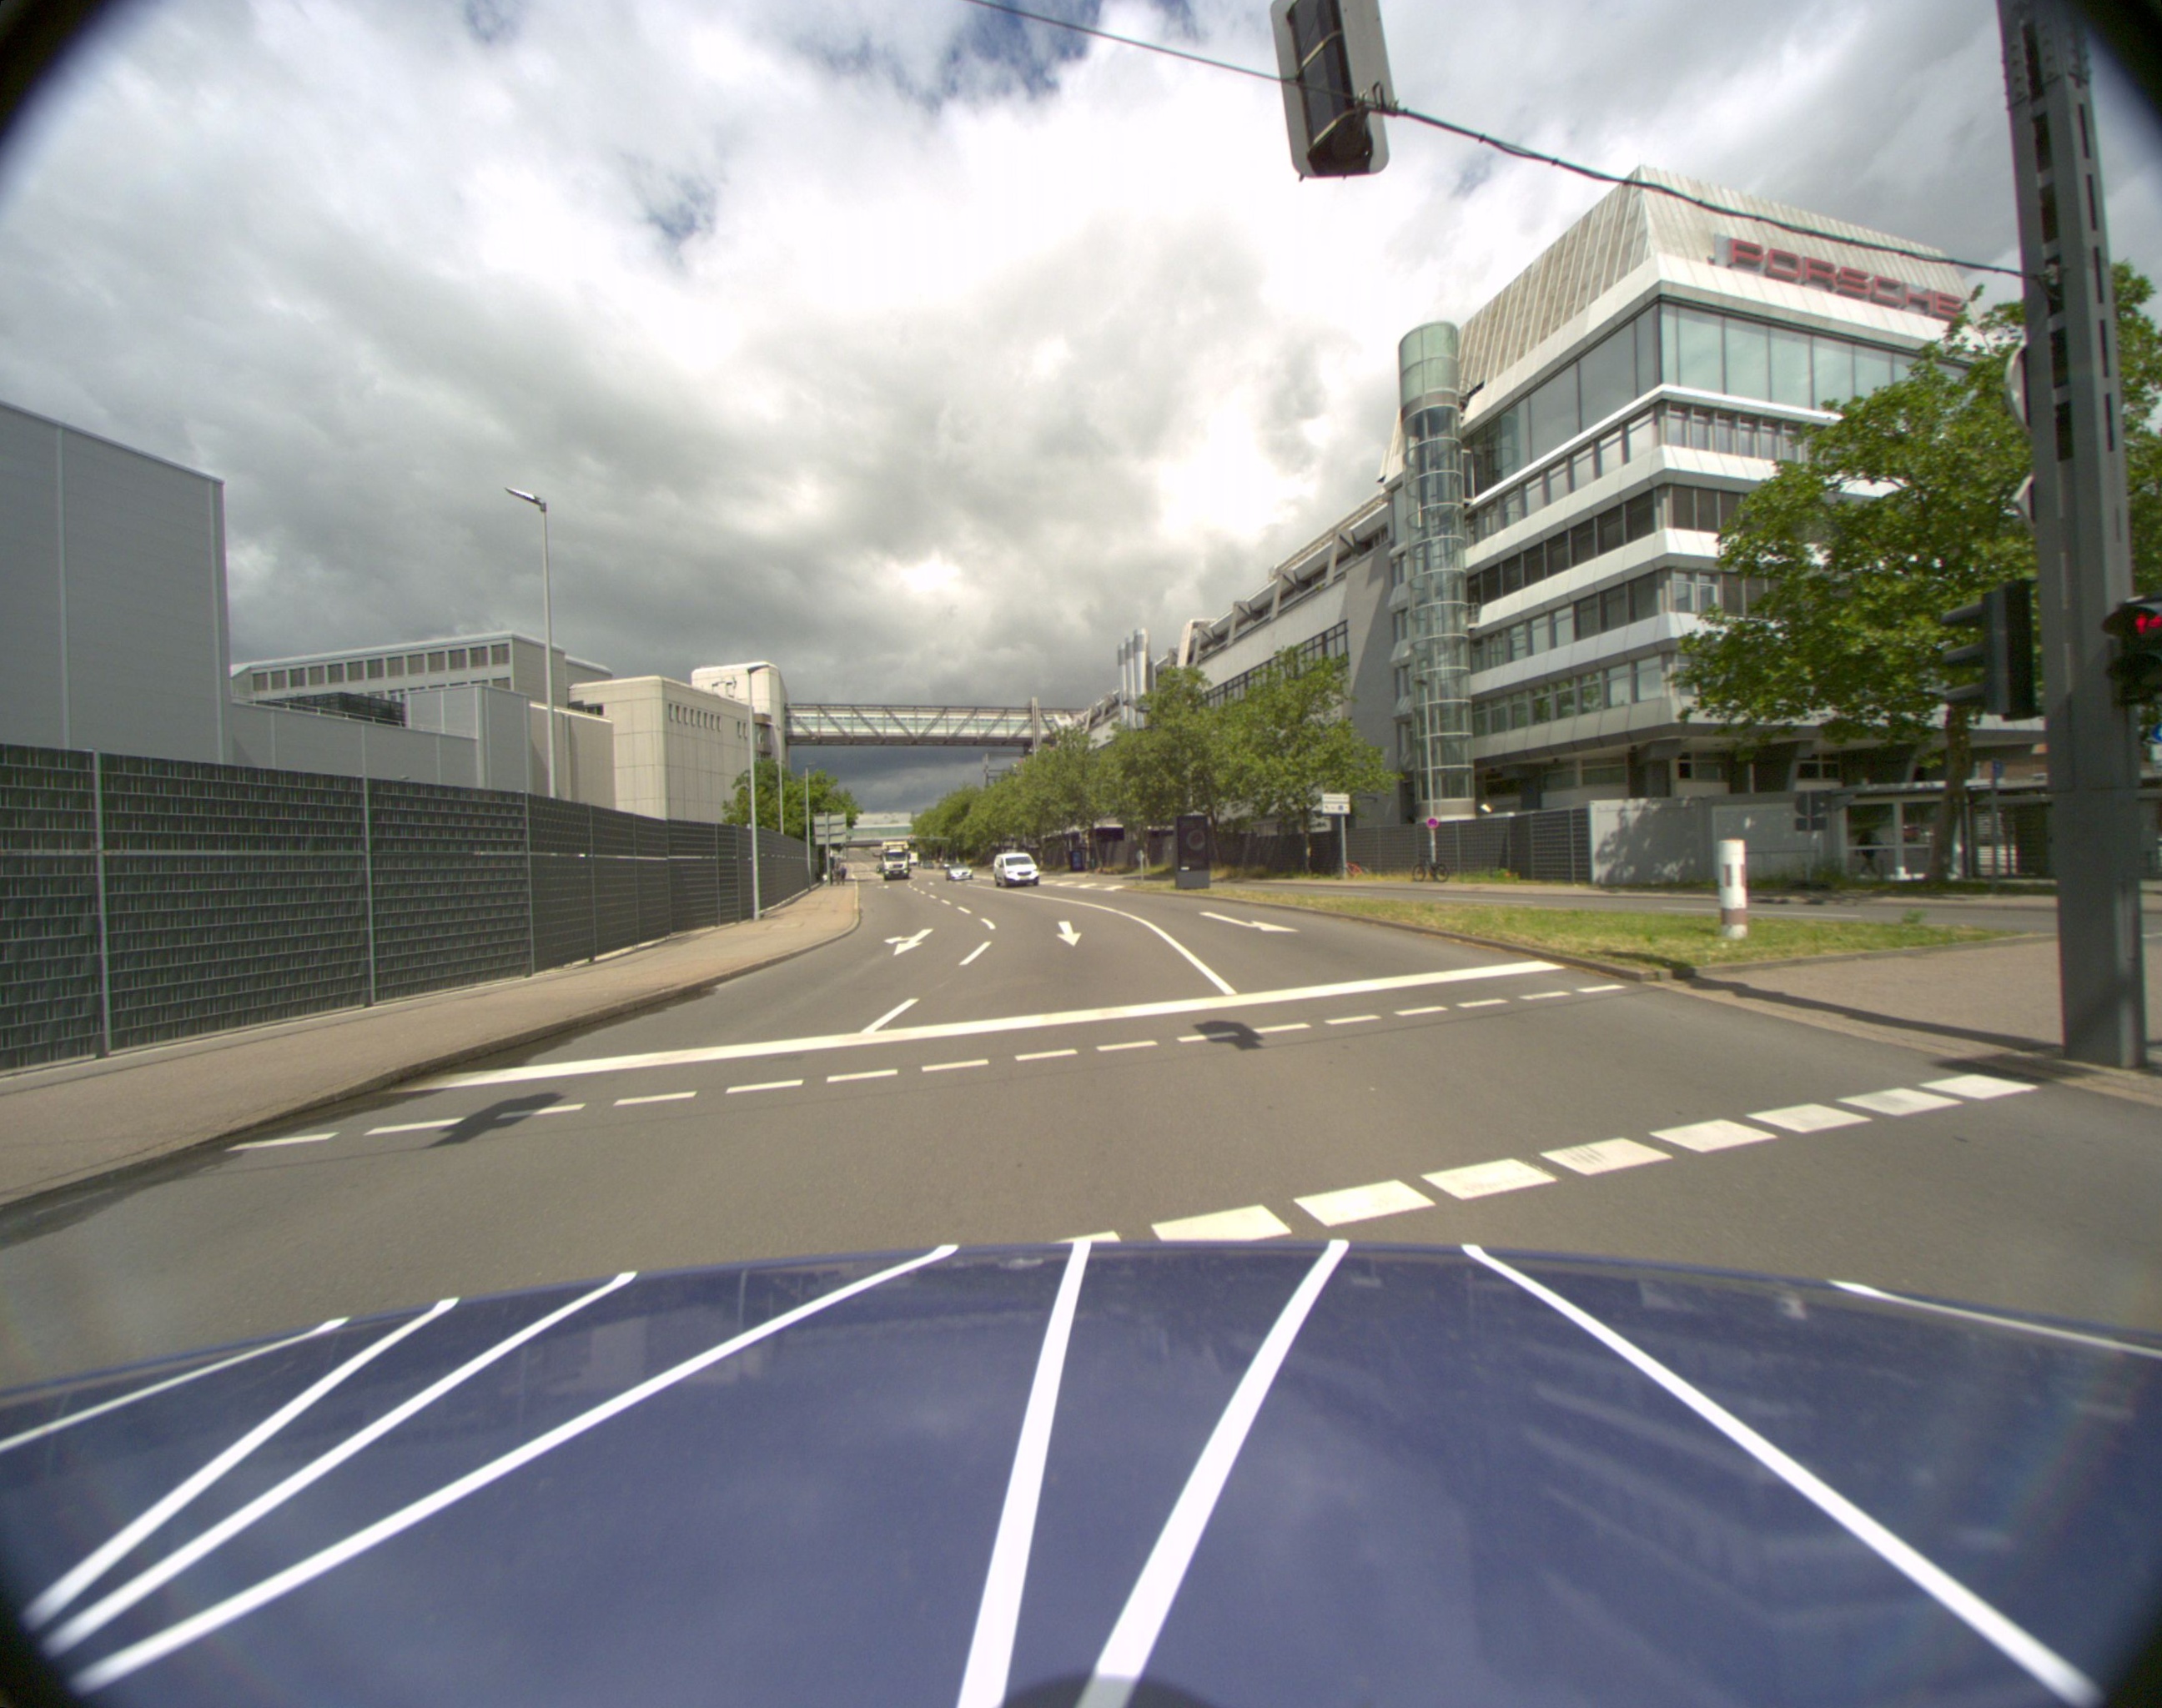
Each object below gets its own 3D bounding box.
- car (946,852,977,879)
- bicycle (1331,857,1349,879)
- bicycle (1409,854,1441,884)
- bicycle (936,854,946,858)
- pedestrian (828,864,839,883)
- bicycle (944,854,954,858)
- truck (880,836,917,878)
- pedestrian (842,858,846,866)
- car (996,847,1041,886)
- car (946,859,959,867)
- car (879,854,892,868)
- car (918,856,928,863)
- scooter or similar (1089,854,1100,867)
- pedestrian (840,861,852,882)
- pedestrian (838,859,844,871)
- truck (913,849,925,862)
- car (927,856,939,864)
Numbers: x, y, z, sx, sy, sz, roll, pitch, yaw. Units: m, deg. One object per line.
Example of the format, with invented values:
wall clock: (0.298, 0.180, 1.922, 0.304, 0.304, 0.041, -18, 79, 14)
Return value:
car: (-9.920, 0.883, 62.601, 1.874, 1.945, 4.704, -4, 2, -15)
bicycle: (12.500, 0.653, 36.725, 0.297, 1.000, 1.251, -3, 2, -6)
bicycle: (13.759, 0.580, 30.402, 0.297, 1.125, 1.483, -3, 2, -13)
bicycle: (-37.892, 0.532, 206.315, 2.565, 1.171, 0.615, -3, 2, -16)
pedestrian: (-20.963, 1.664, 64.343, 0.798, 1.588, 0.730, -4, 2, -19)
bicycle: (-33.919, 0.497, 195.033, 2.564, 1.079, 0.615, -3, 2, -9)
truck: (-18.991, 0.271, 78.514, 2.717, 3.863, 10.723, -4, 1, -17)
pedestrian: (-52.637, 1.862, 168.507, 0.730, 1.756, 1.014, -4, 2, -17)
car: (-3.534, 0.697, 42.143, 1.827, 2.001, 4.387, -2, -1, -13)
car: (-22.452, 1.569, 132.570, 1.885, 1.496, 4.185, 0, 0, -16)
car: (-31.154, 1.150, 121.002, 1.874, 1.945, 4.704, -4, 2, -15)
car: (-34.116, 1.142, 164.271, 1.747, 1.571, 4.261, 0, 0, -16)
scooter or similar: (1.265, 0.611, 70.286, 0.525, 1.228, 1.316, -6, 1, -17)
pedestrian: (-19.475, 1.448, 62.952, 0.798, 1.711, 0.730, -4, 2, -20)
pedestrian: (-34.147, 1.514, 108.219, 0.813, 1.635, 0.996, -1, 1, -18)
truck: (-39.651, 0.300, 185.861, 2.461, 3.111, 7.233, -3, 1, -14)
car: (-27.855, 1.160, 142.818, 1.698, 1.406, 4.139, 0, 0, -16)
